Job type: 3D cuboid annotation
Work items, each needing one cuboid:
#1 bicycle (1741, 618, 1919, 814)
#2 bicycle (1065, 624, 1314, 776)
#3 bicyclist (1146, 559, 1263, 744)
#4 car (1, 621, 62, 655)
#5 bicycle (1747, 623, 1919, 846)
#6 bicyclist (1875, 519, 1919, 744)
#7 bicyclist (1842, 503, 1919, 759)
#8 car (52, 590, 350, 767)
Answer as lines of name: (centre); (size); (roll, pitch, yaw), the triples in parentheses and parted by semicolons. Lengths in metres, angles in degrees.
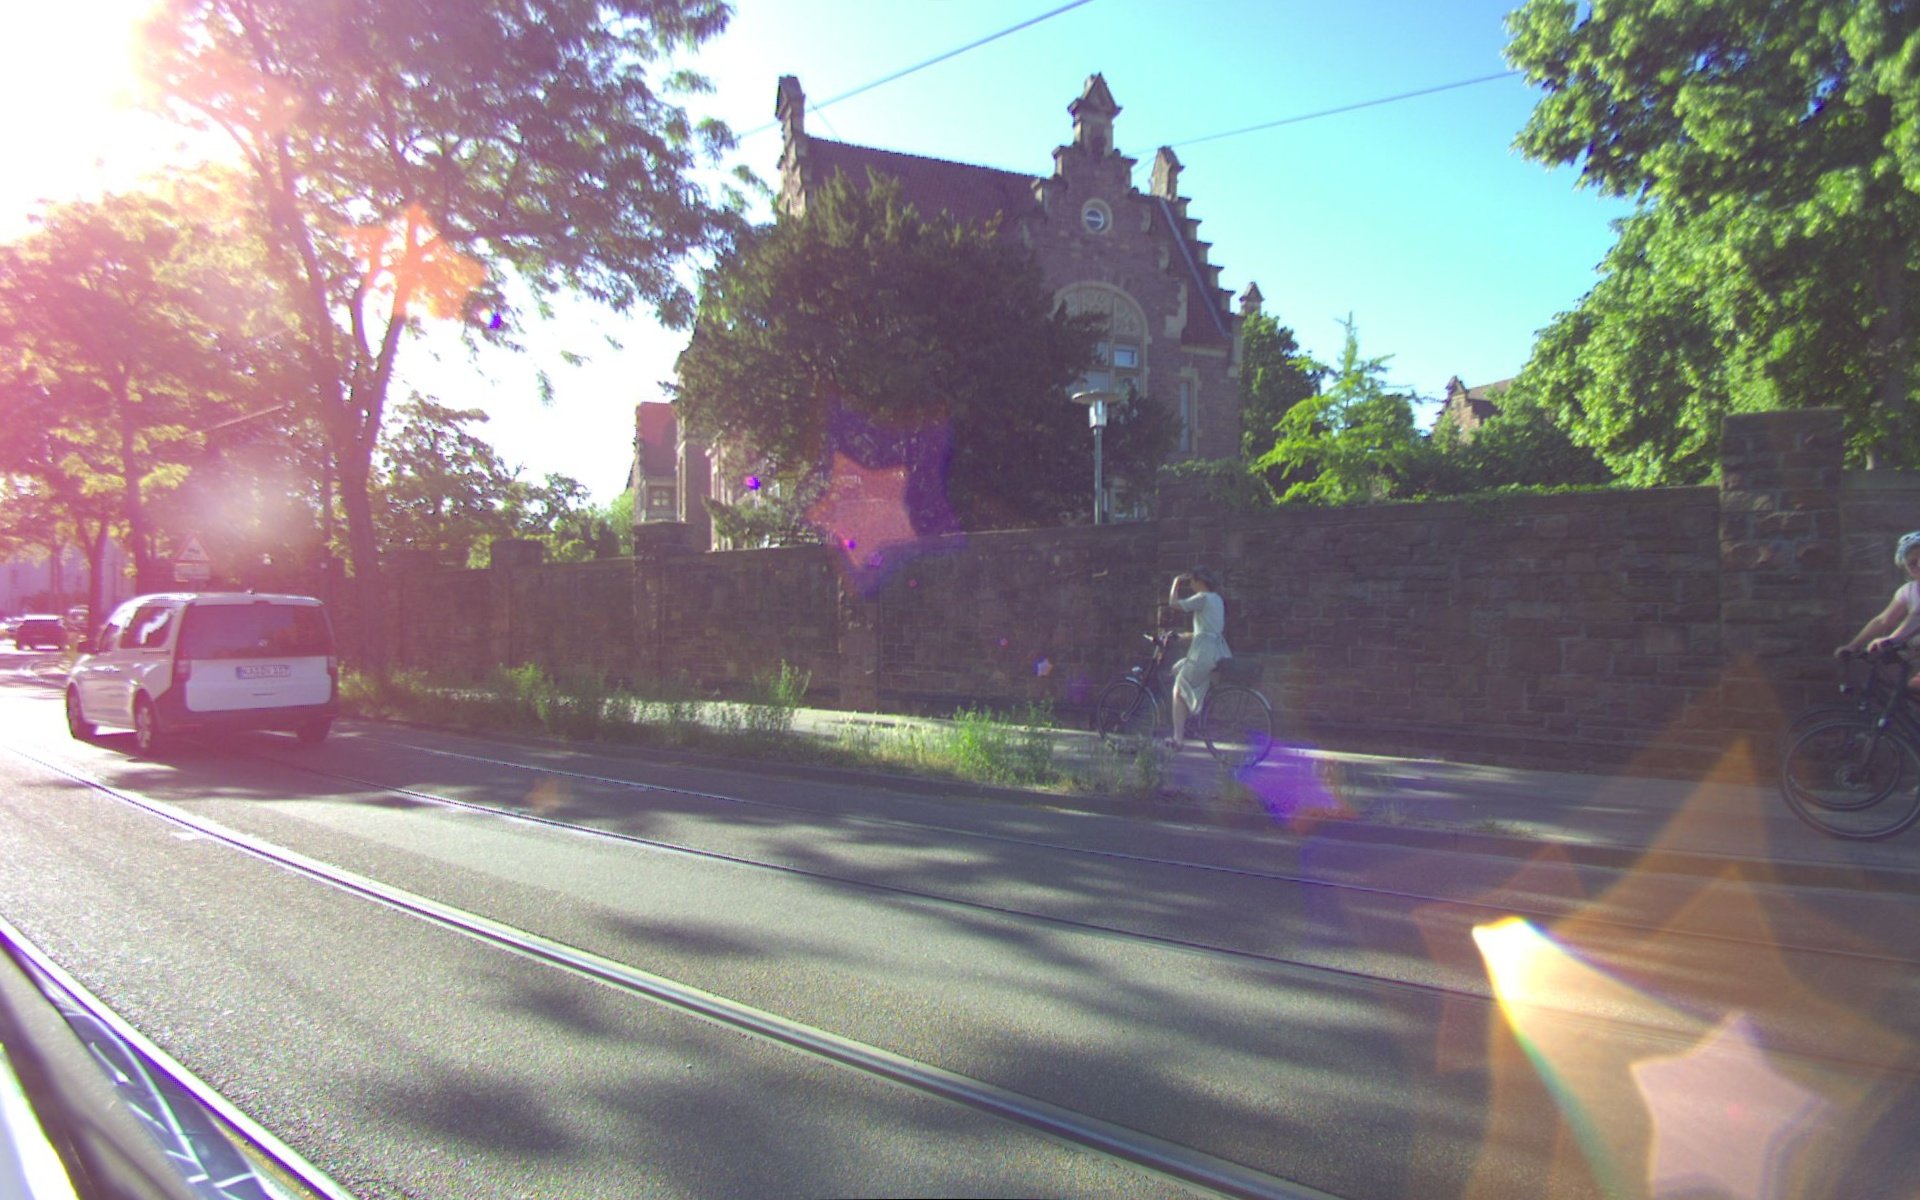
bicycle: (6.326, 0.727, 6.468); (2.086, 1.200, 0.724); (-1, 0, 40)
bicycle: (2.025, 0.830, 9.143); (2.087, 1.200, 0.737); (-1, 0, 41)
bicyclist: (2.177, 0.432, 9.005); (0.751, 1.546, 0.734); (-1, 0, 41)
car: (-43.924, 1.765, 47.846); (3.998, 1.453, 1.718); (-1, 0, 41)
bicycle: (5.741, 0.743, 5.637); (2.102, 1.200, 0.764); (-1, 0, 41)
bicyclist: (6.483, 0.191, 6.339); (1.060, 1.401, 0.724); (-1, 0, 40)
bicyclist: (5.755, 0.163, 5.616); (1.271, 1.401, 0.758); (-1, 0, 41)
car: (-9.310, 0.837, 12.329); (3.992, 1.824, 1.811); (-1, -1, 36)
